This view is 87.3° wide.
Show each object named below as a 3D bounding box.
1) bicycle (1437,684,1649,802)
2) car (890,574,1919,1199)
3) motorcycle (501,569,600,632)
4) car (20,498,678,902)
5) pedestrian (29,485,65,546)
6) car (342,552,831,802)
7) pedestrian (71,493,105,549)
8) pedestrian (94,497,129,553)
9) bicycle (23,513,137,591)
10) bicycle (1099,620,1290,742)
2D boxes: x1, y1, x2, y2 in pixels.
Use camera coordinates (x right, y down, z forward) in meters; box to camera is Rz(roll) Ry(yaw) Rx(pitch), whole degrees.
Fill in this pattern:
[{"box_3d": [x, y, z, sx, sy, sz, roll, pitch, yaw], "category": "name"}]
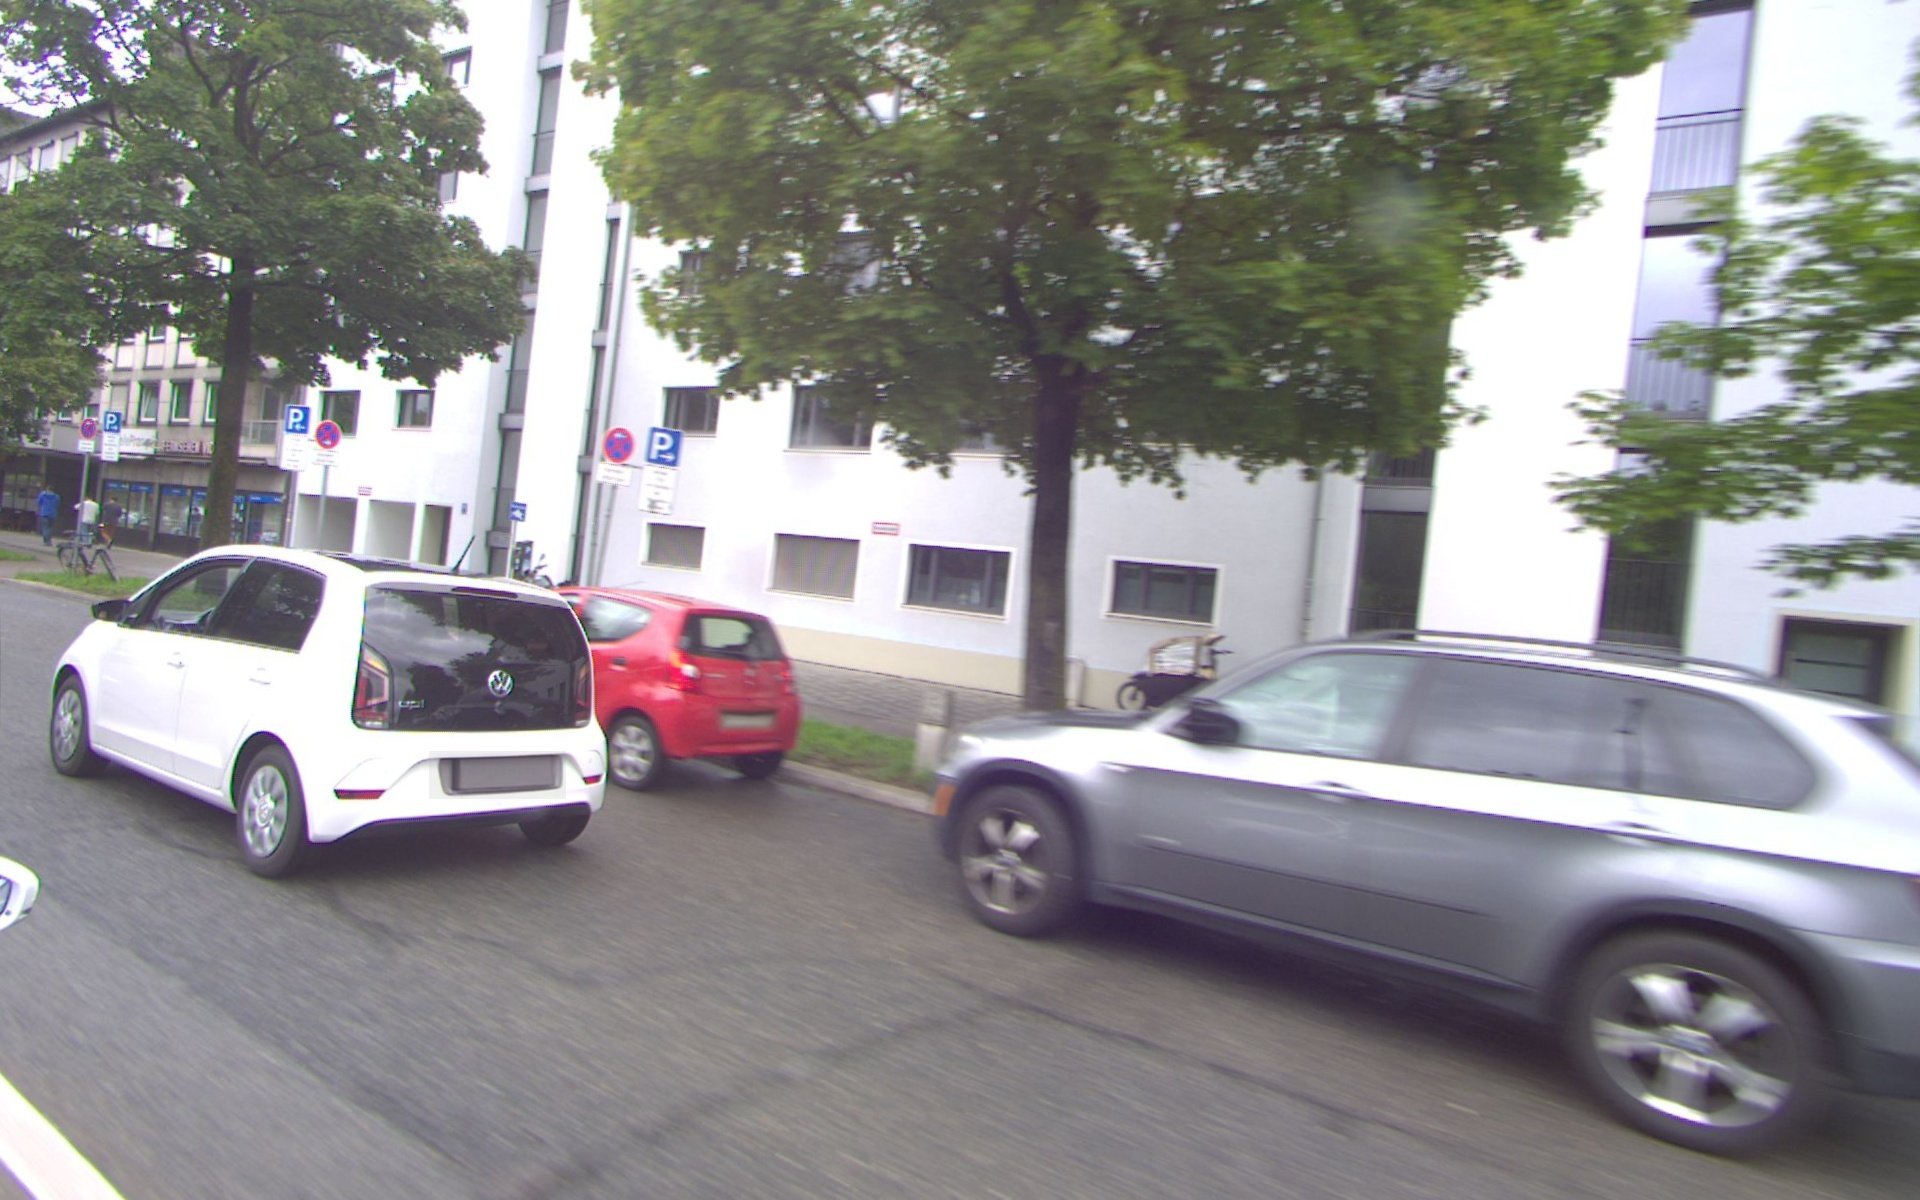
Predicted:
[{"box_3d": [7.271, 1.748, 12.639, 2.159, 1.061, 0.621, 7, 4, 32], "category": "bicycle"}, {"box_3d": [2.055, 1.024, 5.075, 4.434, 1.767, 1.832, 7, -1, 32], "category": "car"}, {"box_3d": [-8.868, -0.002, 21.765, 2.163, 1.099, 0.762, 7, 0, 32], "category": "motorcycle"}, {"box_3d": [-3.516, 0.403, 5.719, 3.377, 1.507, 1.690, 7, -2, 31], "category": "car"}, {"box_3d": [-27.735, -2.563, 30.556, 0.720, 1.755, 0.500, 7, 1, 32], "category": "pedestrian"}, {"box_3d": [-3.267, 0.561, 8.705, 3.928, 1.459, 1.525, 7, 0, 25], "category": "car"}, {"box_3d": [-27.237, -2.460, 31.414, 0.630, 1.651, 0.549, 7, 2, 31], "category": "pedestrian"}, {"box_3d": [-27.059, -2.385, 32.088, 0.712, 1.661, 0.542, 7, 0, 32], "category": "pedestrian"}, {"box_3d": [-17.280, -0.946, 19.750, 2.108, 1.271, 0.456, 7, 0, 13], "category": "bicycle"}, {"box_3d": [3.457, 1.158, 14.968, 2.550, 1.426, 0.703, 7, 2, 32], "category": "bicycle"}]
